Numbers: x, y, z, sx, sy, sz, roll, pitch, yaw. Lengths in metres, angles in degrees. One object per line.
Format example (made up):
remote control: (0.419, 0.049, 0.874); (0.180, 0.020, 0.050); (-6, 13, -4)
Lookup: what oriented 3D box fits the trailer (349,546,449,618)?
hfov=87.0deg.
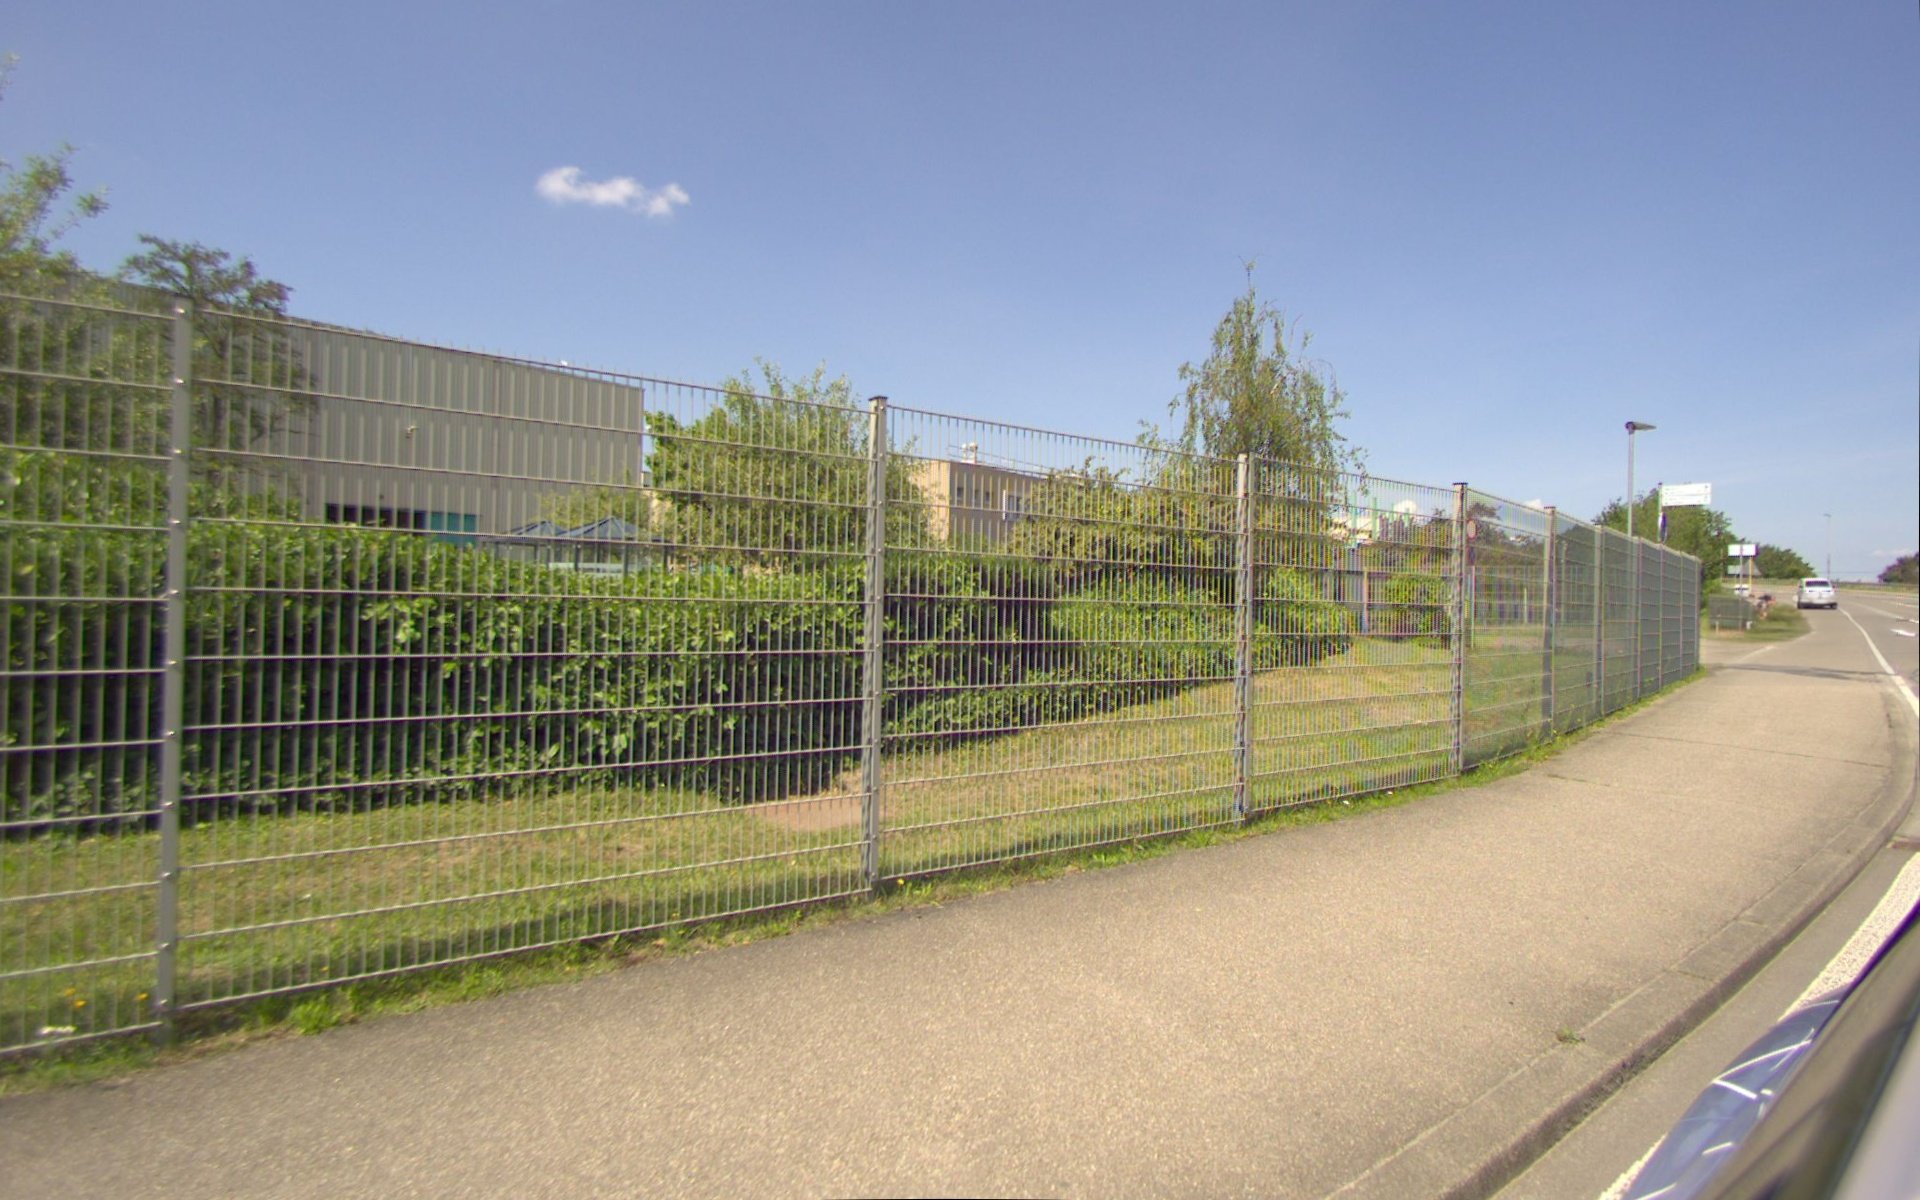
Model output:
trailer: (-23.246, -0.729, 41.819); (5.969, 2.756, 1.968); (1, 0, 44)

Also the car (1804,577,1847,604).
car: (65.626, -0.717, 76.816); (1.986, 1.939, 3.952); (1, 0, 33)
